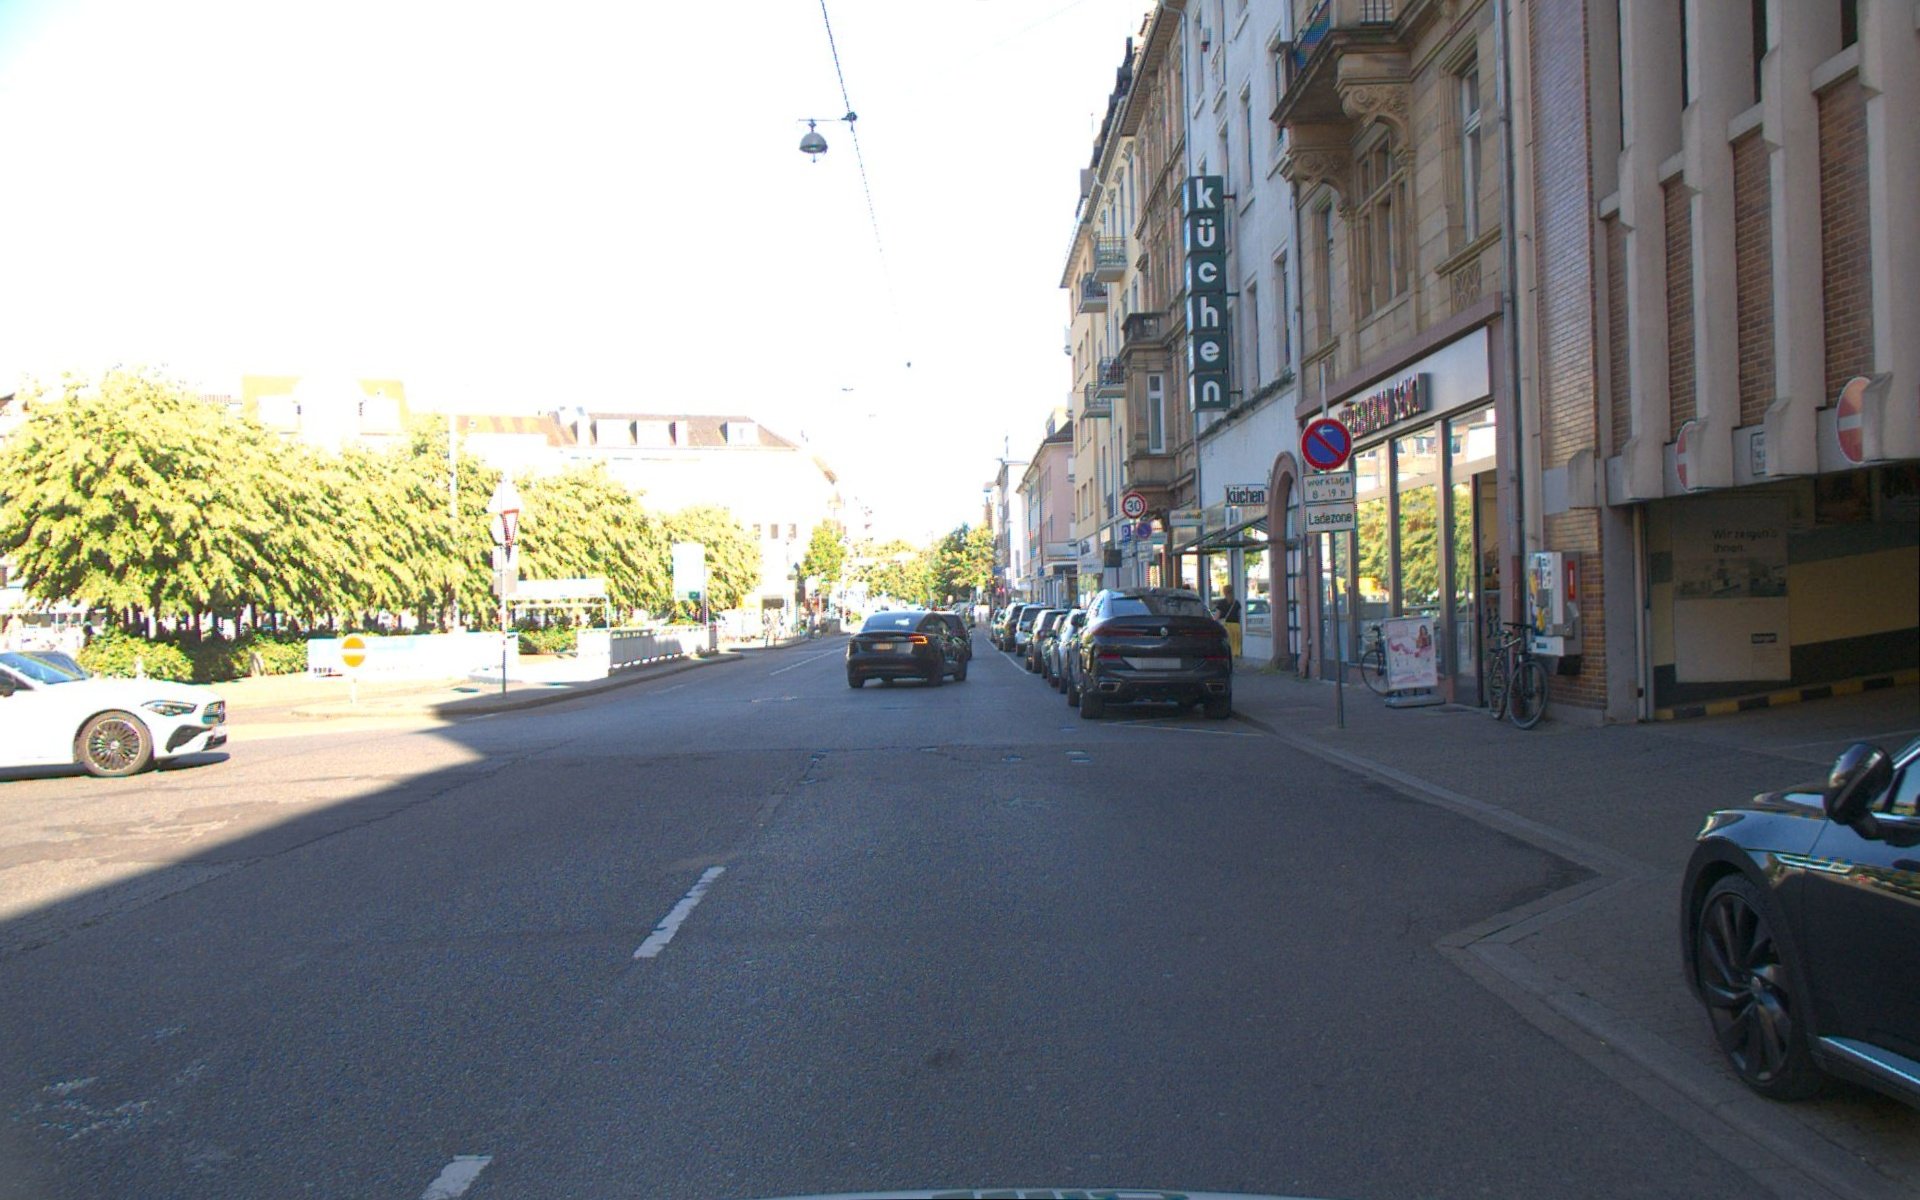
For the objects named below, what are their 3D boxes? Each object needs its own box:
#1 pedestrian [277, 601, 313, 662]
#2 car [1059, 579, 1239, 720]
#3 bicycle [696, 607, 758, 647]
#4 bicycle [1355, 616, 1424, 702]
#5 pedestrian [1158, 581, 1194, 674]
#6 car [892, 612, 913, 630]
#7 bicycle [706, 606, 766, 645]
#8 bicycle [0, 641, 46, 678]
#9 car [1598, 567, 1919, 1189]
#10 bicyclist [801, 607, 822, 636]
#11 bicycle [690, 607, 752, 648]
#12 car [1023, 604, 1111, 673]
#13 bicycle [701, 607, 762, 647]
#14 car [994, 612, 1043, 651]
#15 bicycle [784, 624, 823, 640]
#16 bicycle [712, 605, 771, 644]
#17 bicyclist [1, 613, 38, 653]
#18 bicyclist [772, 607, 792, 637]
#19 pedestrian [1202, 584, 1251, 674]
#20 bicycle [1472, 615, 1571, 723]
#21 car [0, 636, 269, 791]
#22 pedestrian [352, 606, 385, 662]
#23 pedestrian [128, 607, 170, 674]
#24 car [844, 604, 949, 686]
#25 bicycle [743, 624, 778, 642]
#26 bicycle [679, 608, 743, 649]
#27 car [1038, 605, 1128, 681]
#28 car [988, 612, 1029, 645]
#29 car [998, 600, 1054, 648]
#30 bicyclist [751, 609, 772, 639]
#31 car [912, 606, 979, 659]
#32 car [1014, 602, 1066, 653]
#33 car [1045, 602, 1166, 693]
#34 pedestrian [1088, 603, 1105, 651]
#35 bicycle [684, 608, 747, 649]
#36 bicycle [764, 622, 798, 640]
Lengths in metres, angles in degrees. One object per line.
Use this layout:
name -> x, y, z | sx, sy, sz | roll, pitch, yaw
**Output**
pedestrian -> -23.863, 1.130, 59.374 | 0.717, 2.145, 0.967 | -1, -1, 22
car -> 2.505, 0.621, 23.043 | 1.933, 1.755, 4.823 | 0, 0, 0
bicycle -> -12.325, 1.424, 87.535 | 3.054, 2.049, 0.909 | -1, -1, 9
bicycle -> 5.890, 0.782, 22.762 | 0.351, 1.104, 1.941 | -4, 0, -1
pedestrian -> 4.246, 0.533, 32.547 | 0.607, 1.797, 0.518 | -2, -1, 2
car -> -6.050, 2.180, 174.180 | 1.952, 1.803, 4.000 | 0, 0, 1
bicycle -> -12.125, 1.390, 89.658 | 3.054, 2.049, 0.909 | -1, -1, 9
bicycle -> -41.136, 2.604, 72.371 | 0.945, 1.529, 2.685 | -1, -1, -6
car -> 3.293, 0.642, 3.443 | 1.879, 1.504, 4.964 | -5, 0, 0
bicyclist -> -9.039, 1.305, 100.886 | 1.122, 1.715, 0.915 | -1, -1, 3
bicycle -> -12.484, 1.440, 86.487 | 3.054, 2.049, 0.909 | -1, -1, 9
car -> 2.536, 0.891, 40.051 | 1.801, 1.573, 4.227 | 0, 0, -1
bicycle -> -12.231, 1.436, 88.618 | 3.054, 2.049, 0.909 | -1, -1, 9
car -> 2.280, 1.251, 65.530 | 1.755, 1.485, 4.083 | 0, -2, 0
bicycle -> -9.551, 1.944, 100.908 | 2.197, 0.898, 0.924 | -1, -1, 3
bicycle -> -11.976, 1.345, 90.702 | 3.054, 2.049, 0.909 | -1, -1, 9
bicyclist -> -41.142, 1.435, 72.357 | 0.945, 1.730, 1.209 | -1, -1, -6
bicyclist -> -10.645, 1.316, 98.921 | 1.123, 1.715, 0.819 | -1, -1, -4
pedestrian -> 5.233, 0.564, 32.517 | 0.784, 1.704, 0.589 | -3, -1, 2
bicycle -> 5.989, 0.711, 17.722 | 0.351, 1.063, 1.790 | -4, 0, -1
car -> -10.295, 1.254, 17.678 | 5.013, 1.447, 1.994 | -3, -1, -13
pedestrian -> -23.170, 1.321, 64.761 | 0.717, 2.145, 0.967 | -1, -1, 22
pedestrian -> -26.444, 1.325, 53.951 | 0.717, 2.145, 0.967 | -1, -1, 22
car -> -1.231, 0.895, 32.911 | 1.955, 1.506, 4.493 | 0, -1, -1
bicycle -> -11.628, 1.923, 96.509 | 1.972, 1.040, 0.887 | -1, -1, -4
bicycle -> -12.725, 1.452, 84.537 | 3.054, 2.049, 0.909 | -1, -1, 9
car -> 2.508, 0.849, 34.506 | 1.575, 1.475, 3.830 | 0, 0, 0
car -> 2.196, 1.338, 76.296 | 1.756, 1.485, 3.867 | 0, -2, 0
car -> 2.306, 0.872, 58.934 | 1.682, 1.664, 4.082 | 0, -2, -2
bicyclist -> -11.572, 1.385, 96.520 | 1.123, 1.715, 0.918 | -1, -1, -4
car -> -0.398, 0.951, 50.454 | 1.895, 1.513, 4.272 | -1, 0, 1
car -> 2.551, 0.863, 53.205 | 1.580, 1.573, 2.855 | 0, 0, 1
car -> 2.557, 0.804, 29.912 | 1.801, 1.513, 4.184 | 0, 0, 0
pedestrian -> 4.772, 0.934, 57.836 | 0.460, 1.664, 0.513 | -1, -1, 15
bicycle -> -12.617, 1.446, 85.495 | 3.054, 2.049, 0.909 | -1, -1, 9
bicycle -> -10.710, 1.831, 98.910 | 1.972, 1.040, 0.761 | -1, -1, -4
